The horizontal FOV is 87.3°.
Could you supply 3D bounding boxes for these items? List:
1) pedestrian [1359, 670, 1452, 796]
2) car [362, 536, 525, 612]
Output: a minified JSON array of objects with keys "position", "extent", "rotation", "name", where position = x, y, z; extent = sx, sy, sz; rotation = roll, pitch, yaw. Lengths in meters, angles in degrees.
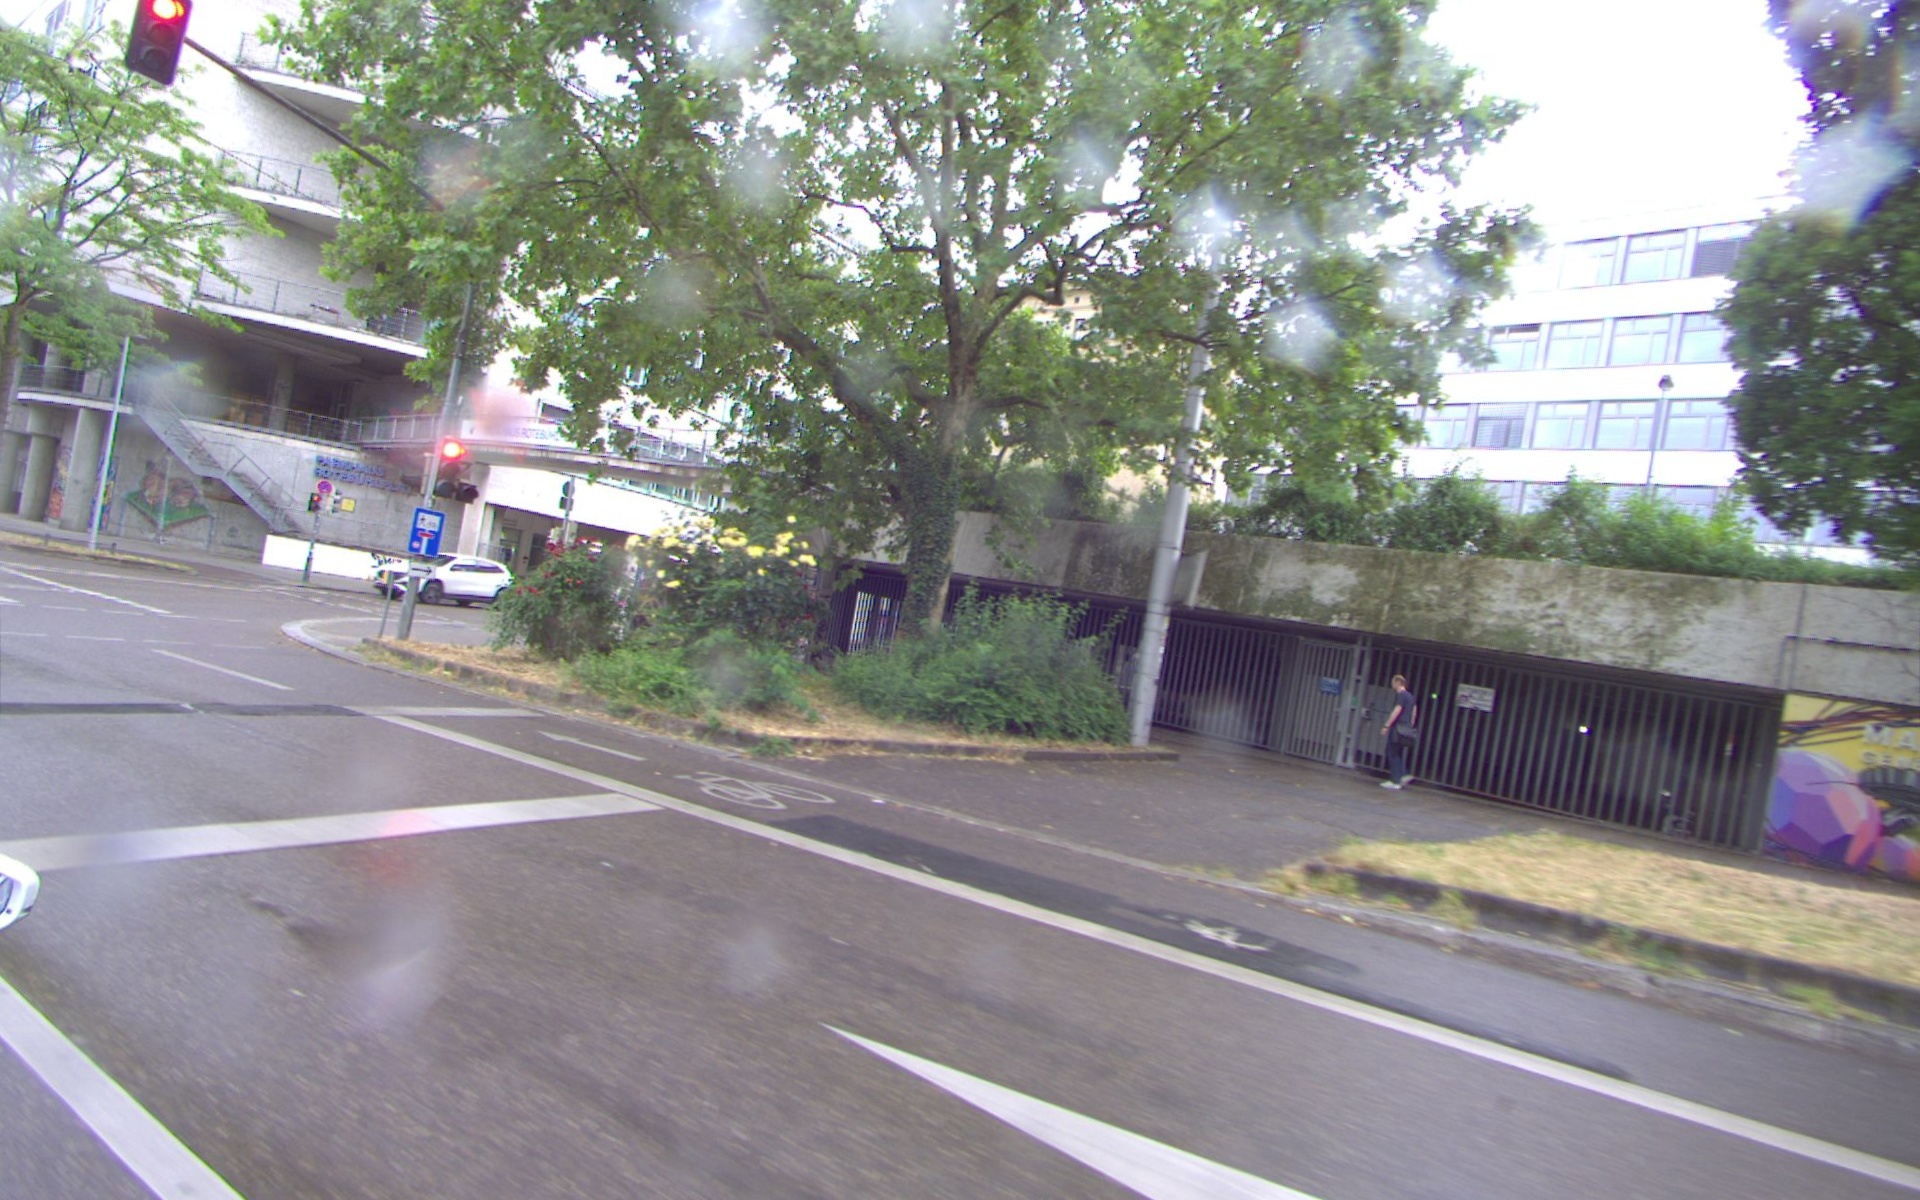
[{"position":[7.408,2.189,16.730],"extent":[1.041,1.887,0.806],"rotation":[7,0,41],"name":"pedestrian"},{"position":[-15.983,-0.736,31.411],"extent":[1.719,1.702,4.363],"rotation":[6,-3,20],"name":"car"}]
